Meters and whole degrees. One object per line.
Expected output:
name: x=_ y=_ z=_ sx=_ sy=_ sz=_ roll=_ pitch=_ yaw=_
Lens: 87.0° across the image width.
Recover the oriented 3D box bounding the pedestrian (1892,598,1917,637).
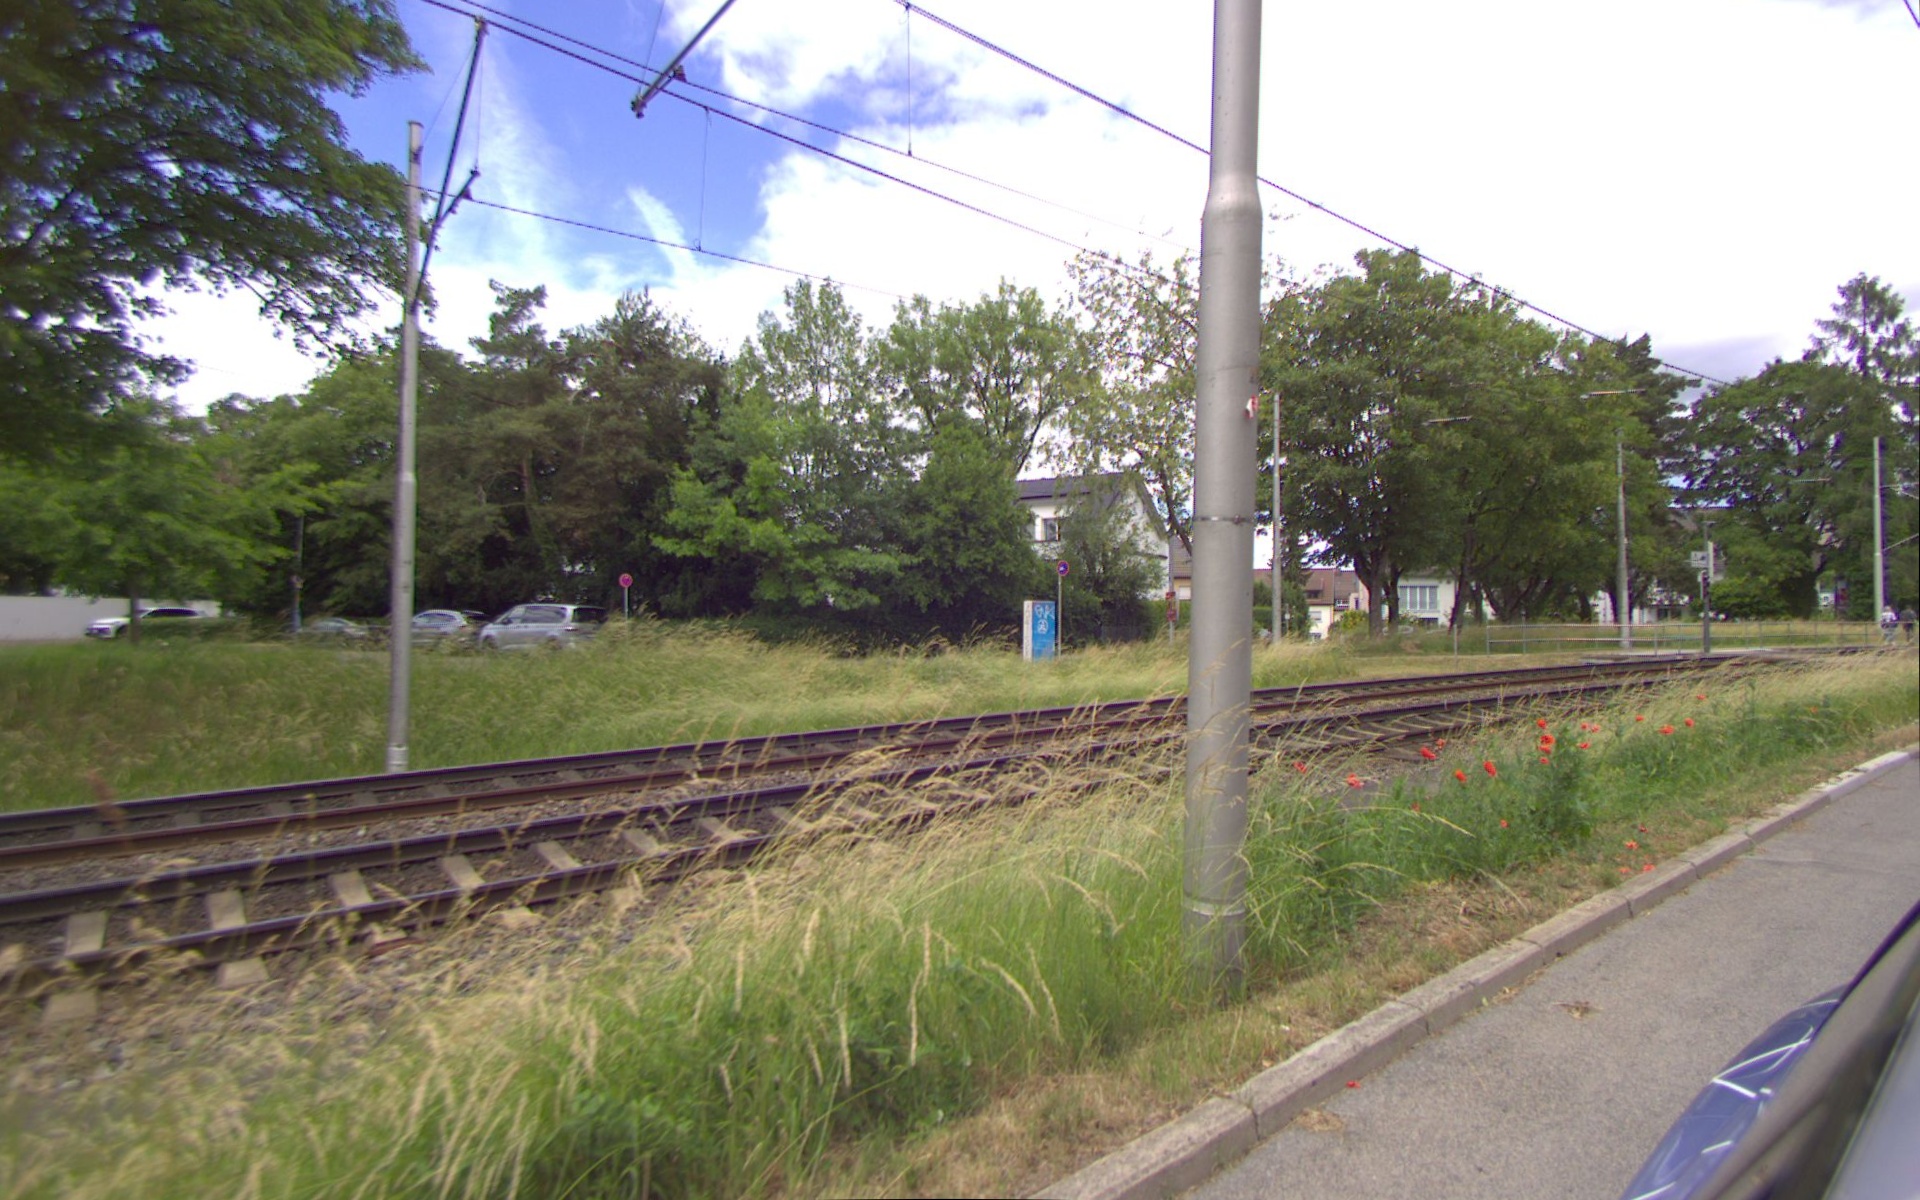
pedestrian: x=39.234 y=0.732 z=42.033 sx=0.678 sy=1.582 sz=0.494 roll=0 pitch=-2 yaw=-27

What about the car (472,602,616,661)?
car: x=-14.164 y=1.029 z=34.428 sx=4.663 sy=1.885 sz=1.901 roll=-1 pitch=-1 yaw=25

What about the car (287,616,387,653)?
car: x=-23.999 y=1.315 z=38.972 sx=3.487 sy=1.351 sz=1.660 roll=-1 pitch=-1 yaw=25

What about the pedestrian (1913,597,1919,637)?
pedestrian: x=39.572 y=0.679 z=41.448 sx=0.774 sy=1.643 sz=0.494 roll=0 pitch=-2 yaw=-27

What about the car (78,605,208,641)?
car: x=-38.506 y=1.048 z=47.807 sx=1.963 sy=1.601 sz=4.415 roll=-1 pitch=0 yaw=31

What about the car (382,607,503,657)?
car: x=-18.849 y=1.136 z=36.849 sx=4.151 sy=1.699 sz=1.756 roll=-1 pitch=-1 yaw=25
